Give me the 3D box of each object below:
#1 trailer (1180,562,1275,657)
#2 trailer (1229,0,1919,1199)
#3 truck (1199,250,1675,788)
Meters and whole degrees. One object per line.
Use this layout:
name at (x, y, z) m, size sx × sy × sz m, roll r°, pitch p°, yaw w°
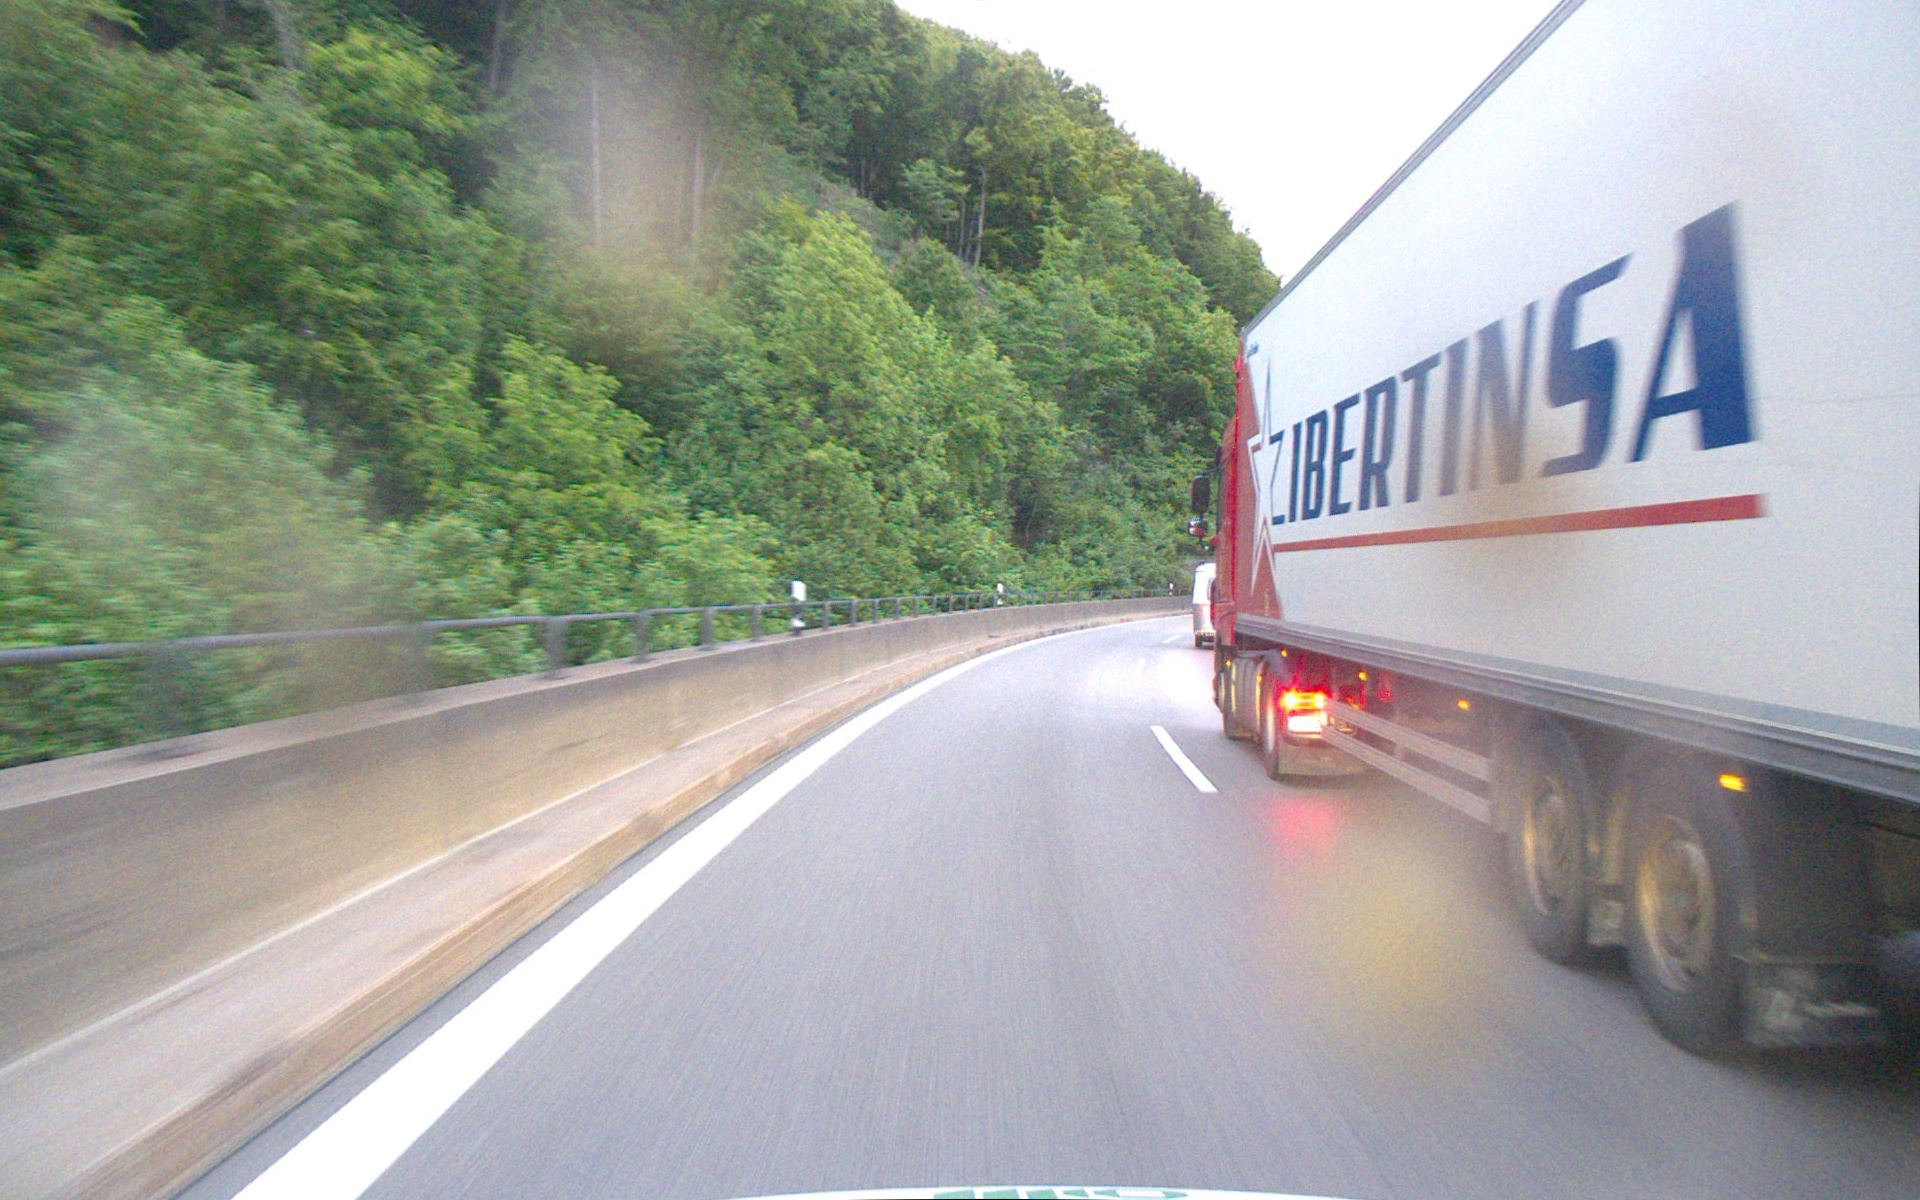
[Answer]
trailer at (7.340, 0.175, 45.965) m, size 2.011 × 2.416 × 5.942 m, roll 2°, pitch 1°, yaw 4°
trailer at (3.968, -0.539, 9.473) m, size 3.033 × 4.039 × 14.222 m, roll 0°, pitch 1°, yaw 2°
truck at (4.252, -0.638, 16.375) m, size 3.005 × 4.217 × 6.448 m, roll 1°, pitch 0°, yaw 2°
